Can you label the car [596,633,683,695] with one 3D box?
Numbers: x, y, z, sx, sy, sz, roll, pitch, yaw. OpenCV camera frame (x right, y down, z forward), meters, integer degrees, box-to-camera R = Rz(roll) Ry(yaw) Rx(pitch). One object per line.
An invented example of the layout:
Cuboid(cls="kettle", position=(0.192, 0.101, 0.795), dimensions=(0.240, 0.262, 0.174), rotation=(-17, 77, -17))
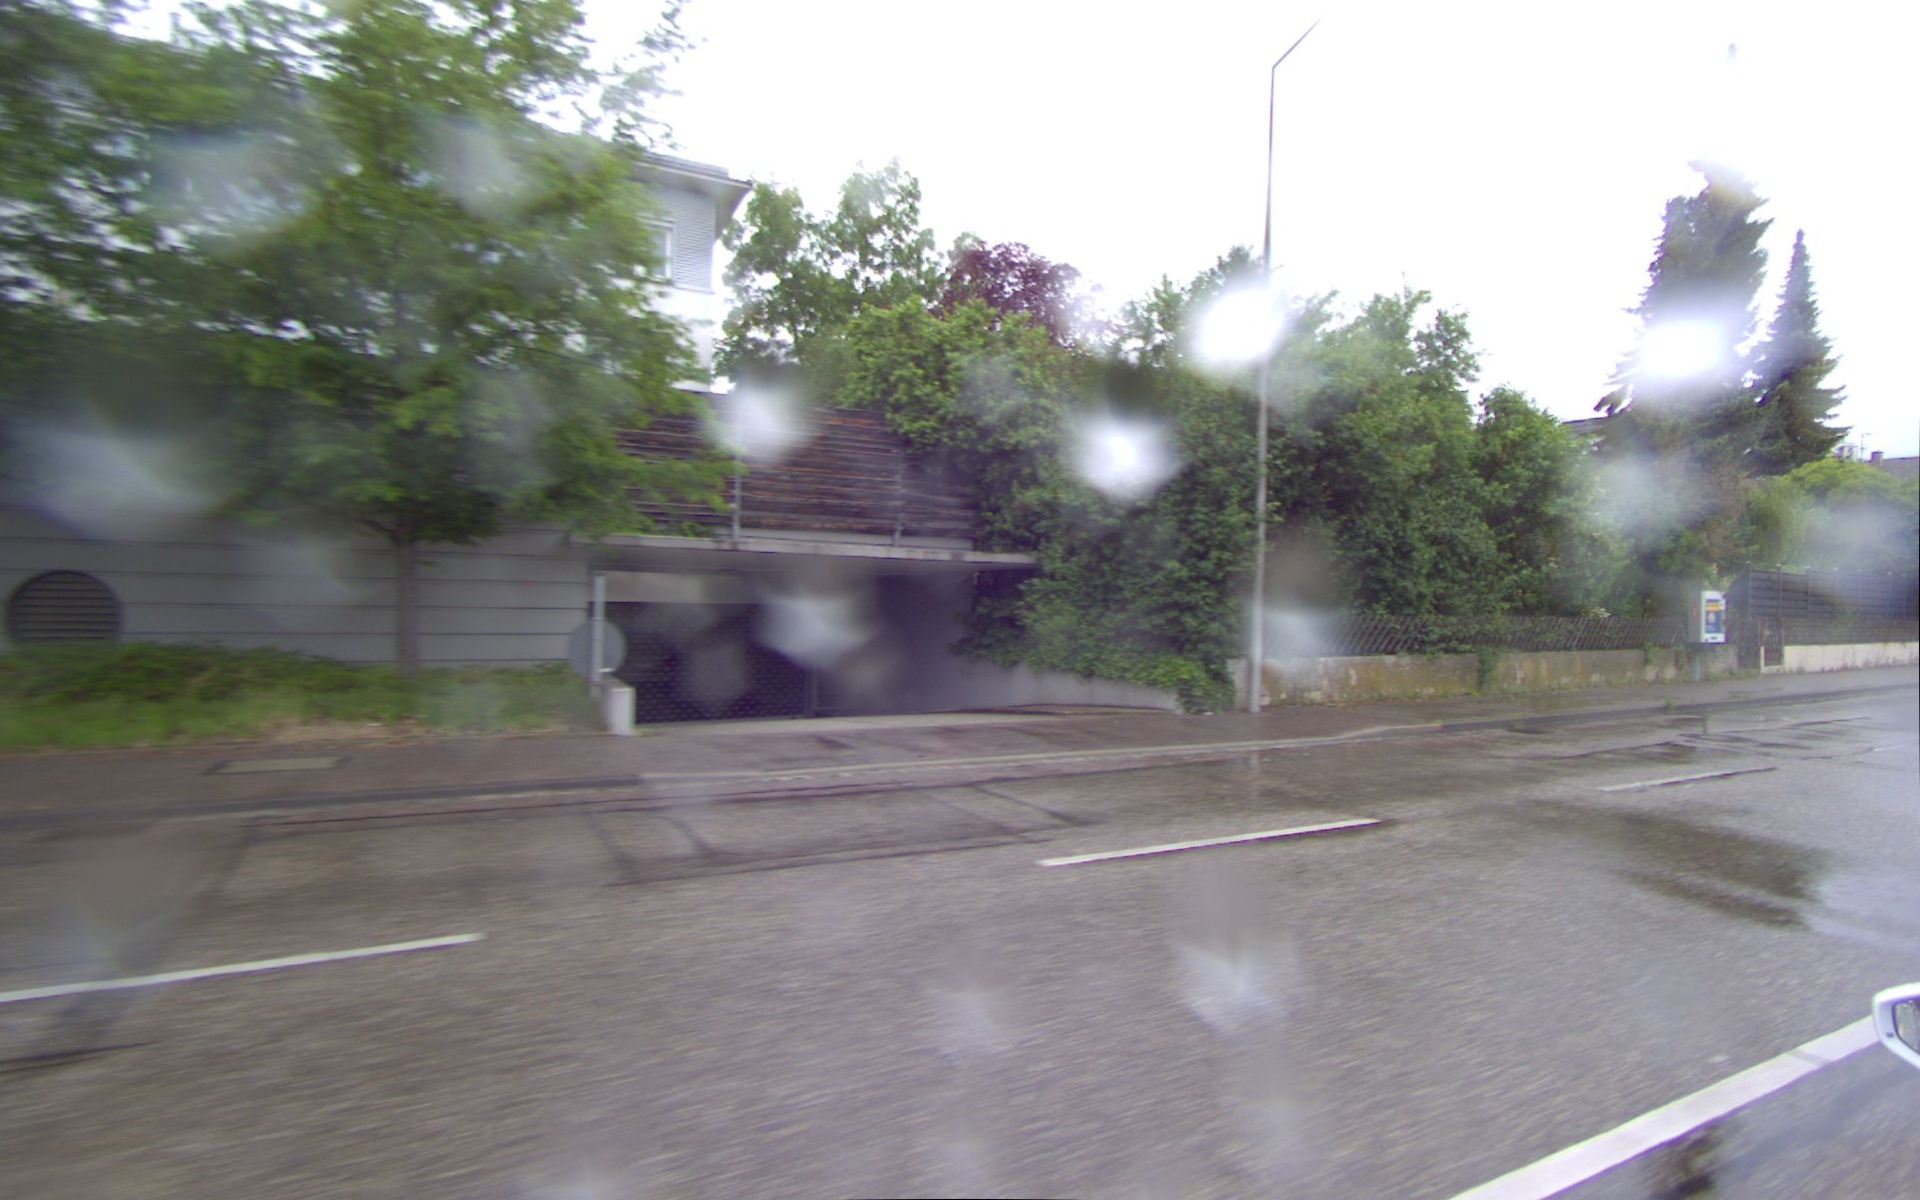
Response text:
Cuboid(cls="car", position=(-8.607, 1.648, 26.852), dimensions=(1.603, 1.417, 3.333), rotation=(1, 0, -29))
